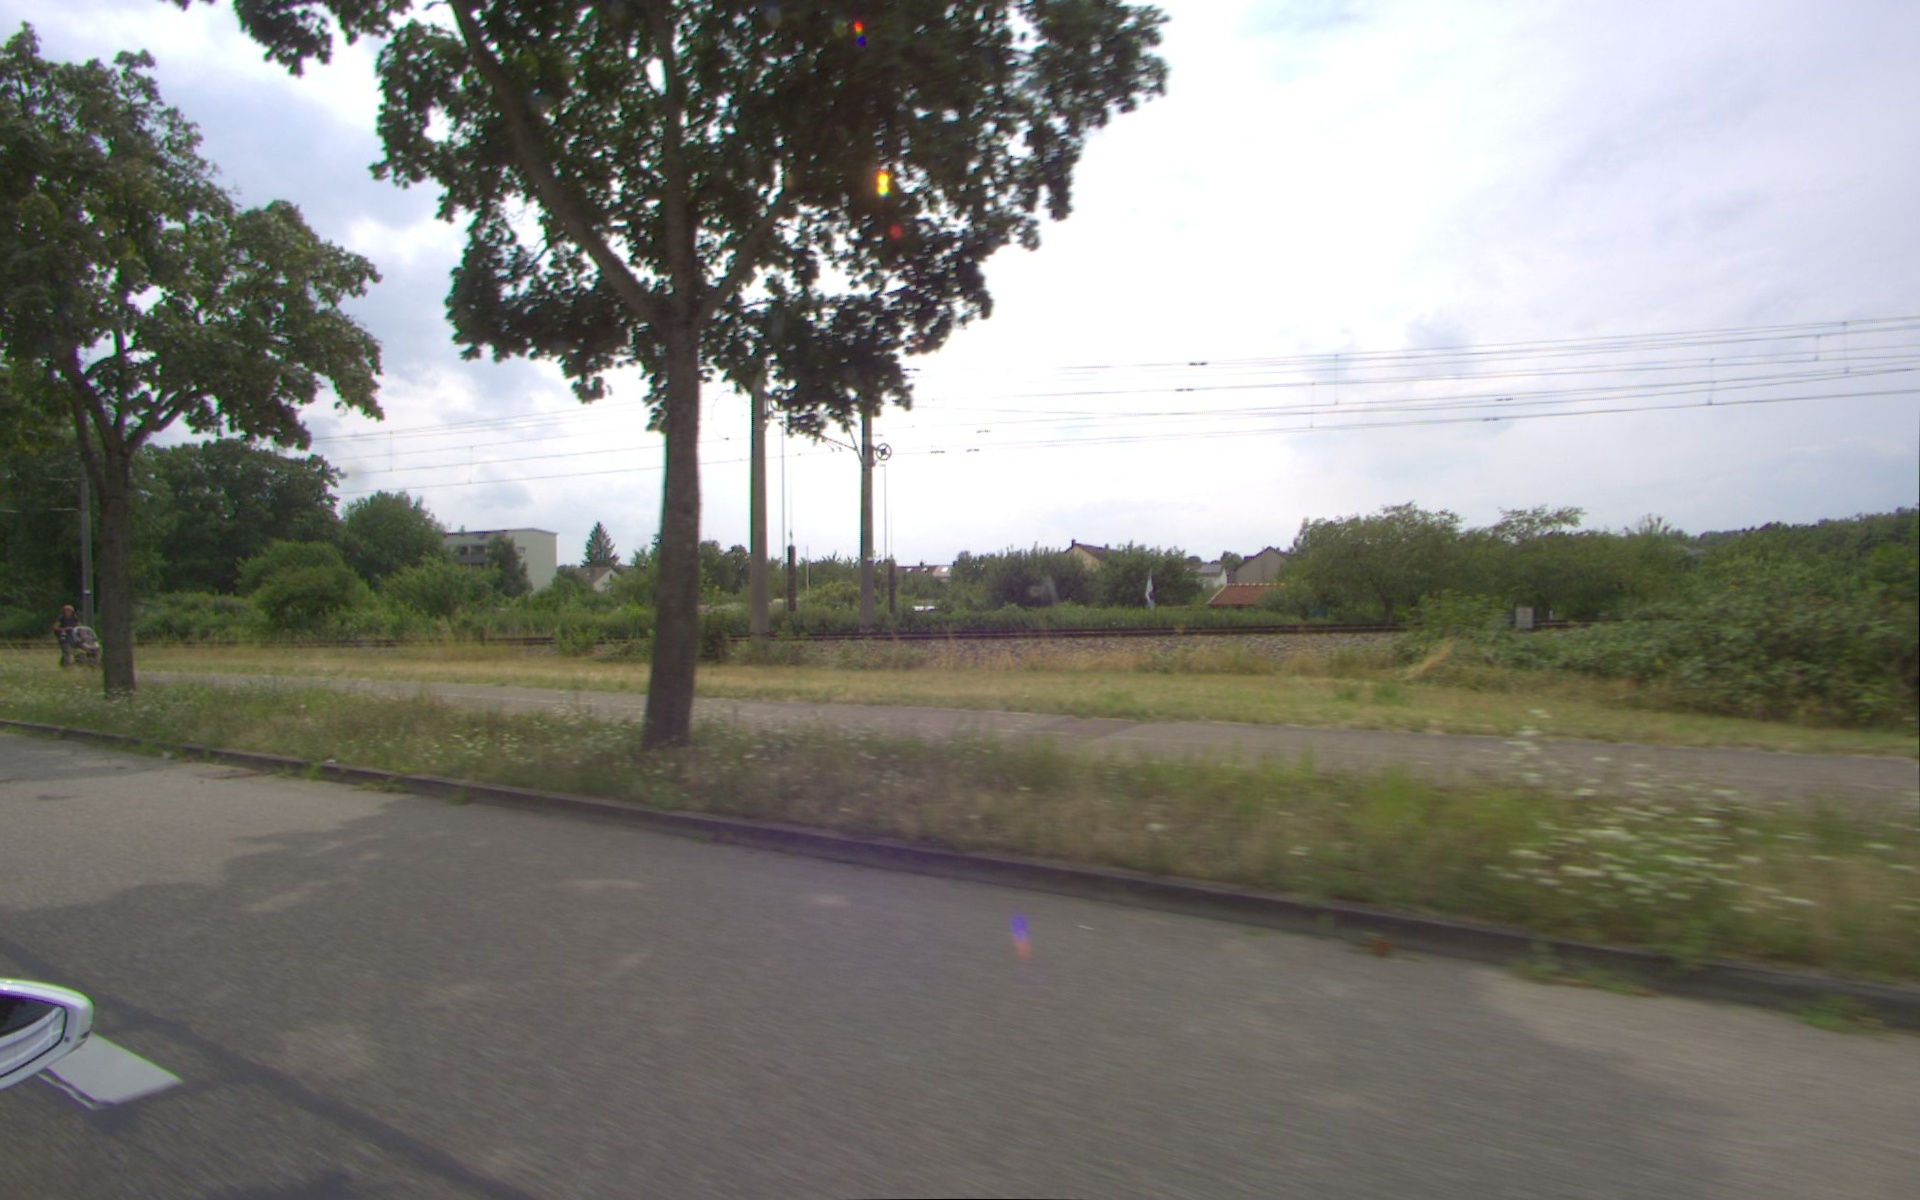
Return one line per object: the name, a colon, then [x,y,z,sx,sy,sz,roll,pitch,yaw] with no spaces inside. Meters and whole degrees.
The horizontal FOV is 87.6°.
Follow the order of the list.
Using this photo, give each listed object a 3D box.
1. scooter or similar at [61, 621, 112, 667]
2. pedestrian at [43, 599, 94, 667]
scooter or similar: [-22.268,1.115,25.518,0.919,1.145,0.681,0,1,27]
pedestrian: [-23.087,0.839,25.940,0.919,1.718,0.690,0,1,27]
